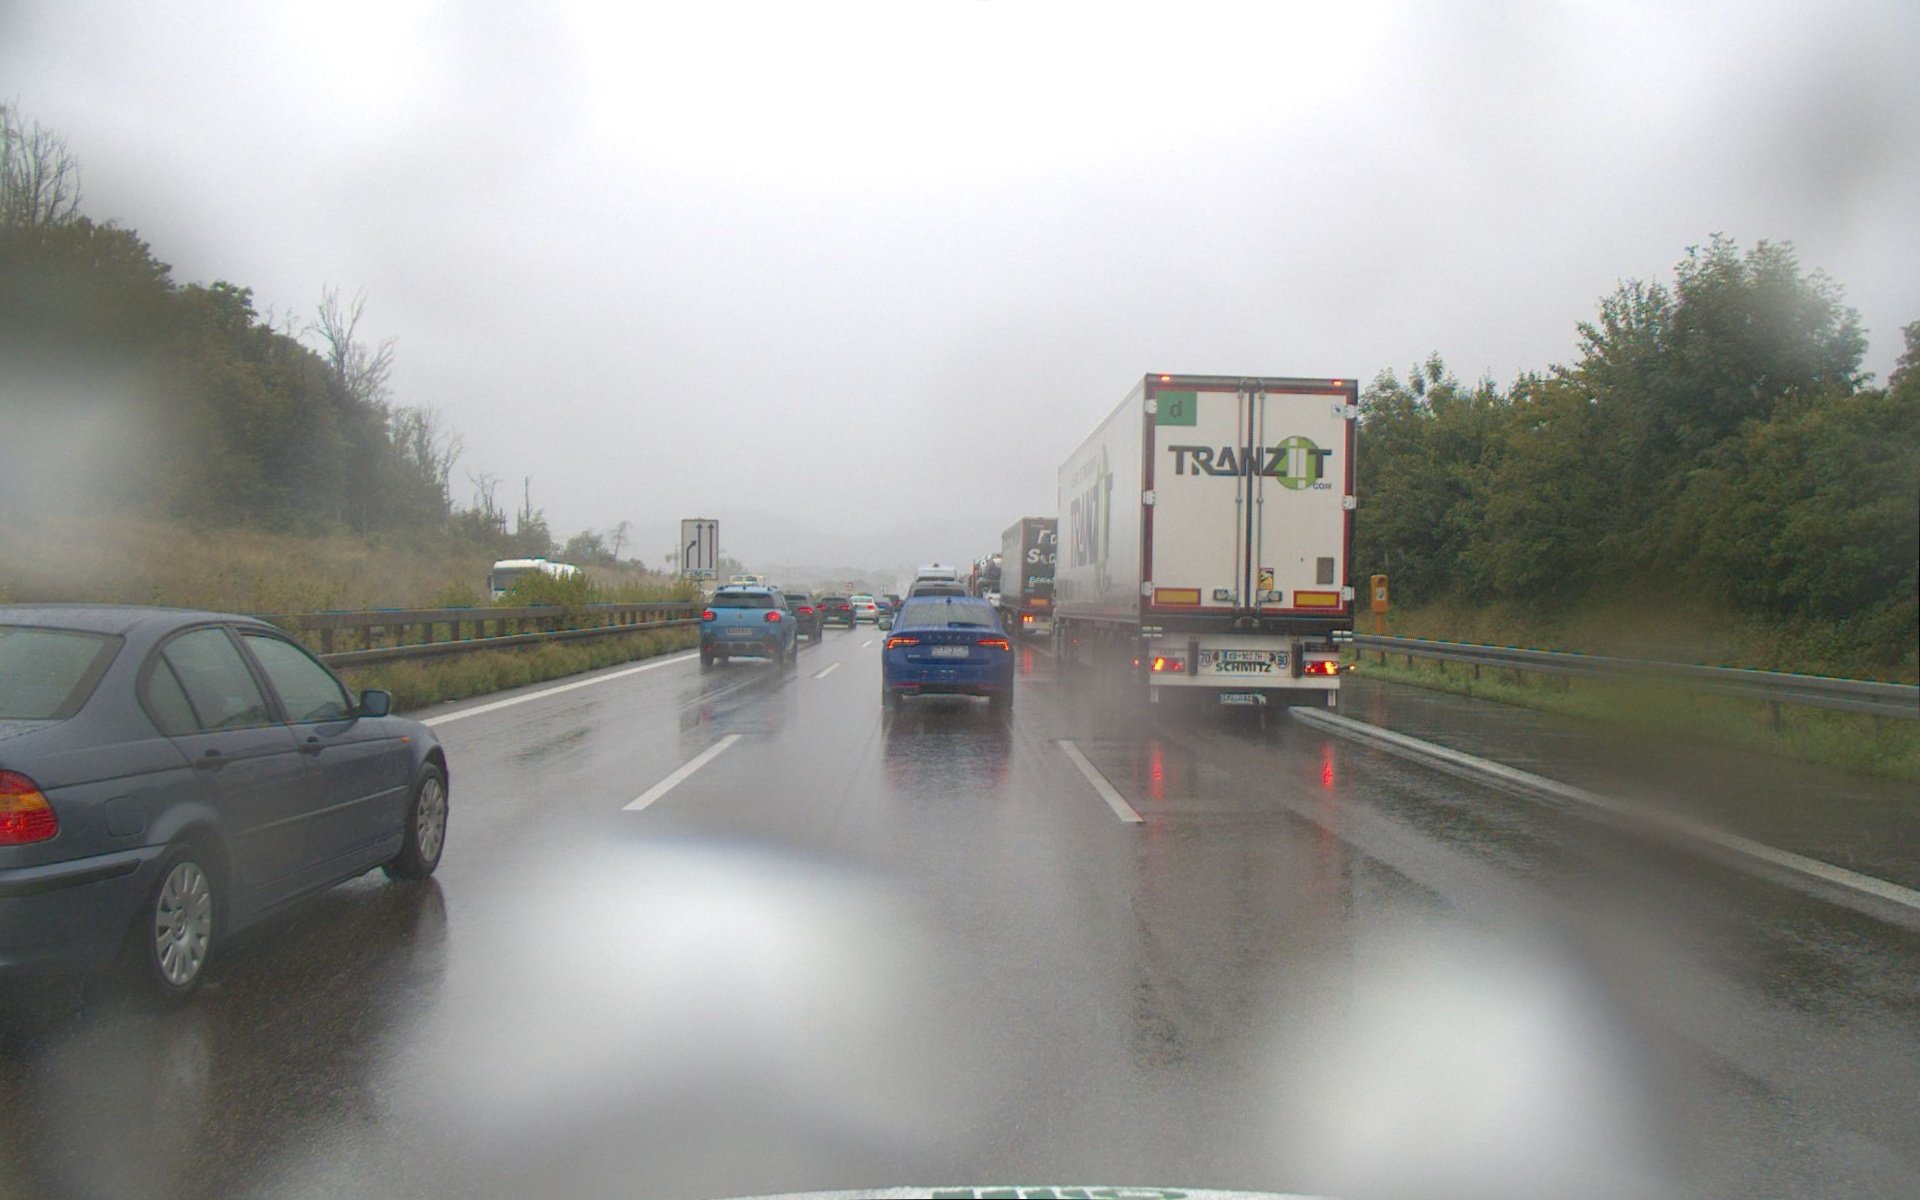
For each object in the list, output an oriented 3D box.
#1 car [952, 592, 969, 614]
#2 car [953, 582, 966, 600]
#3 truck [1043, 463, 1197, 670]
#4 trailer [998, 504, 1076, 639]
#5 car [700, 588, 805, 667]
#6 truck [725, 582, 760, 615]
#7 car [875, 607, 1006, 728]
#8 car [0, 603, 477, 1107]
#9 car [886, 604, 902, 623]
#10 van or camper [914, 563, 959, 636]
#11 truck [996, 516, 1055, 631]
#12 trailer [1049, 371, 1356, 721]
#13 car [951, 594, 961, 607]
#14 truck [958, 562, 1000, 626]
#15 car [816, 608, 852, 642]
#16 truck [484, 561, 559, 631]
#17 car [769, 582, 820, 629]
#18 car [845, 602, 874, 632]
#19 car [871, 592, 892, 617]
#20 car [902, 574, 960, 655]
[{"bbox_3d":[0.041,0.265,143.582,1.419,1.815,3.408,1,0,-1],"label":"car"},{"bbox_3d":[-0.033,-0.988,177.878,1.308,1.923,3.039,-1,0,-1],"label":"car"},{"bbox_3d":[3.136,-0.647,33.570,2.577,3.894,4.790,0,0,-1],"label":"truck"},{"bbox_3d":[2.578,-0.938,58.134,2.005,4.250,11.446,0,0,-1],"label":"trailer"},{"bbox_3d":[-4.271,0.540,34.603,1.686,1.550,4.000,0,0,0],"label":"car"},{"bbox_3d":[-19.057,-0.094,144.905,2.431,2.767,4.527,-1,-1,0],"label":"truck"},{"bbox_3d":[-0.244,0.842,22.415,1.602,1.470,4.000,0,0,0],"label":"car"},{"bbox_3d":[-3.461,0.738,6.869,1.683,1.424,4.229,0,0,-1],"label":"car"},{"bbox_3d":[-6.487,1.337,162.477,1.419,1.815,3.408,1,0,-1],"label":"car"},{"bbox_3d":[-0.965,-0.032,67.422,1.761,2.855,4.767,0,0,-1],"label":"van or camper"},{"bbox_3d":[2.484,-0.983,63.609,2.005,4.266,3.999,0,0,-1],"label":"truck"},{"bbox_3d":[3.247,-0.682,26.753,2.577,4.083,14.626,0,0,-1],"label":"trailer"},{"bbox_3d":[-0.587,0.097,231.981,1.419,1.815,3.408,1,0,-1],"label":"car"},{"bbox_3d":[1.031,-0.376,93.986,1.953,3.481,8.029,0,1,-2],"label":"truck"},{"bbox_3d":[-5.634,1.101,74.120,1.410,1.445,3.321,0,0,-1],"label":"car"},{"bbox_3d":[-21.915,-0.160,82.886,2.490,3.337,5.196,-2,-1,-2],"label":"truck"},{"bbox_3d":[-5.265,0.149,52.886,1.331,1.456,3.363,0,0,-1],"label":"car"},{"bbox_3d":[-5.397,0.883,89.061,1.410,1.560,3.321,0,0,-1],"label":"car"},{"bbox_3d":[-5.815,0.355,122.604,1.419,1.815,3.408,1,0,-1],"label":"car"},{"bbox_3d":[-0.682,0.313,38.987,1.309,1.811,3.321,0,0,-1],"label":"car"}]
